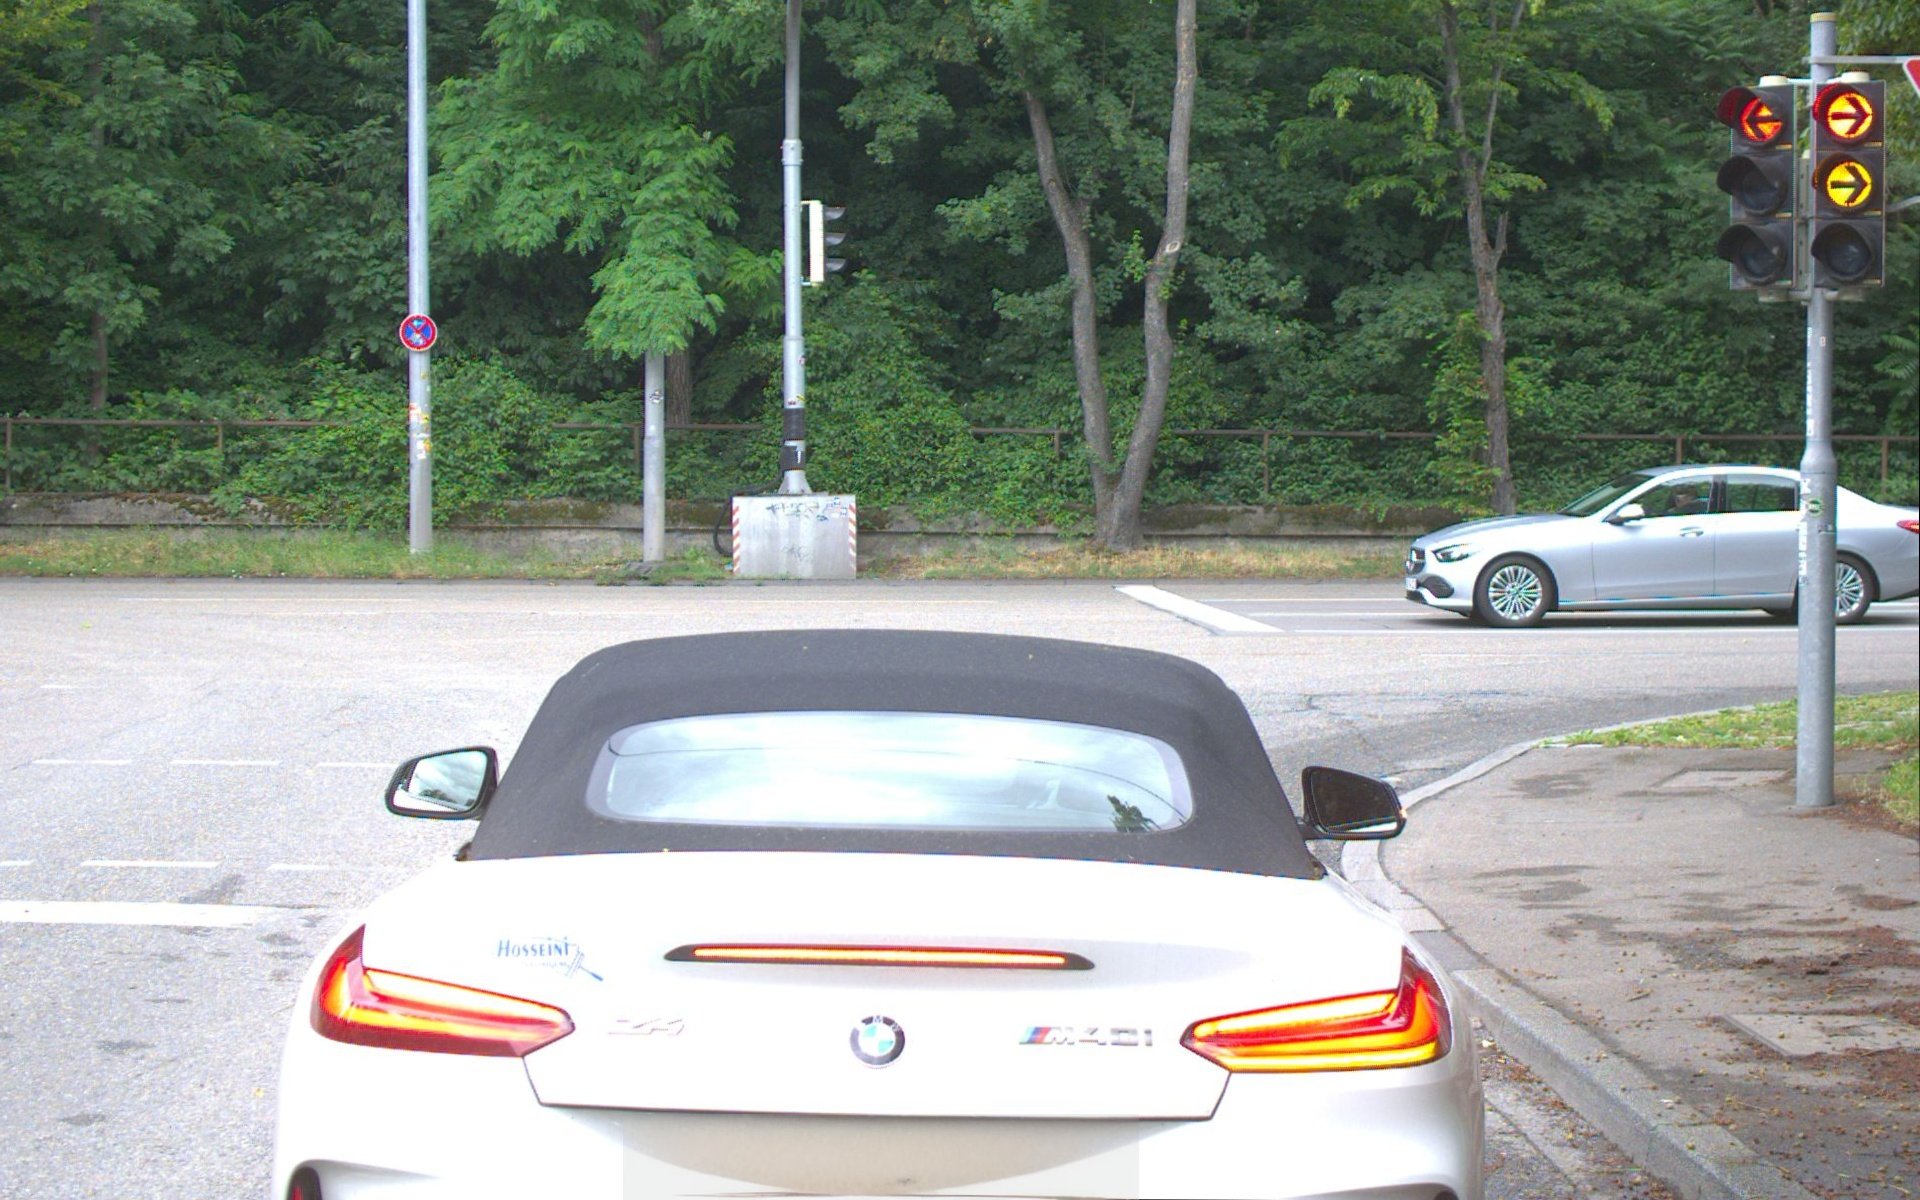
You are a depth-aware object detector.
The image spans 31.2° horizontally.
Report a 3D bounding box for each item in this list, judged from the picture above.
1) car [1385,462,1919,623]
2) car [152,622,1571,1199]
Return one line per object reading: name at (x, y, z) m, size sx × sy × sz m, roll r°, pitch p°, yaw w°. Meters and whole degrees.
car at (6.363, -0.537, 31.017) m, size 4.751 × 1.329 × 1.834 m, roll 1°, pitch 3°, yaw -2°
car at (-0.220, 0.695, 6.472) m, size 1.827 × 1.253 × 4.000 m, roll 2°, pitch 0°, yaw -3°
